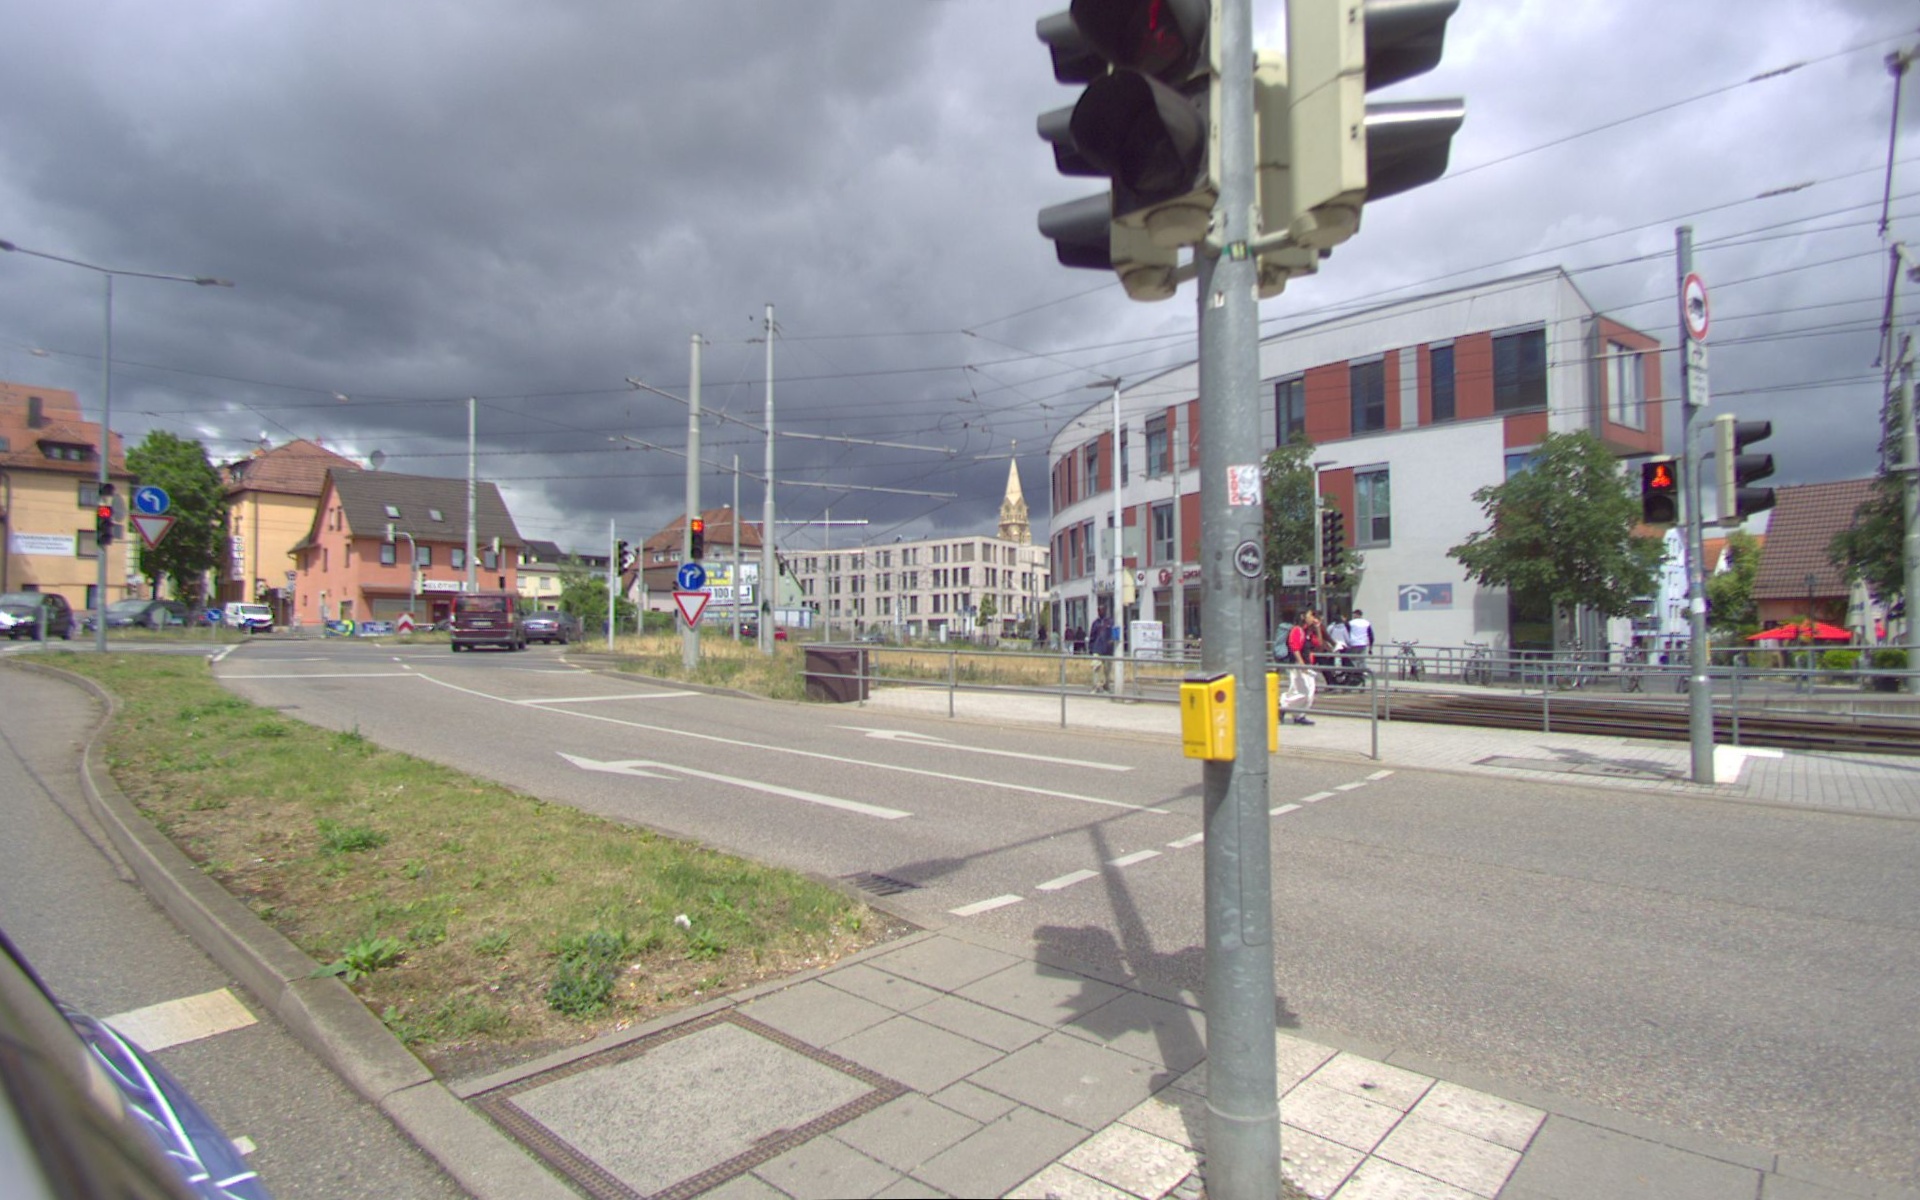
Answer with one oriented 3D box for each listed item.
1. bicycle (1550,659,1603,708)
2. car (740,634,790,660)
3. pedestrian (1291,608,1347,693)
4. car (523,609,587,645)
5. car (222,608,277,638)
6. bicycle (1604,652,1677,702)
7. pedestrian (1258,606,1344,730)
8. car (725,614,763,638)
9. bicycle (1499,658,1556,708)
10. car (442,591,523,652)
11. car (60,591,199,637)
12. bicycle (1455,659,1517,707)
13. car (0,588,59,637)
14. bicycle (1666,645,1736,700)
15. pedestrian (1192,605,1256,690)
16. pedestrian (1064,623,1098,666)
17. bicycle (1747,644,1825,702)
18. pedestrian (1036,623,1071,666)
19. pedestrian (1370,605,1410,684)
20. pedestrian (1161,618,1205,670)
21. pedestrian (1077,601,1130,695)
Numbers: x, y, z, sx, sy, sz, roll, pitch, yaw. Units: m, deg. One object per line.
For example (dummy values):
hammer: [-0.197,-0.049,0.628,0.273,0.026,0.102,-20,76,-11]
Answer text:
bicycle: [14.212,1.900,23.305,0.694,1.071,1.878,0,-3,42]
car: [-15.975,3.837,82.974,1.992,2.029,3.960,-2,-3,29]
pedestrian: [6.929,0.965,19.520,0.821,1.608,0.644,2,-2,-36]
car: [-17.406,1.139,43.679,1.773,1.421,5.065,2,-1,-13]
car: [-47.863,1.543,68.147,4.661,1.912,2.052,-1,-2,42]
bicycle: [15.067,1.690,22.390,1.873,1.037,0.696,3,-3,-35]
pedestrian: [4.455,0.853,13.211,0.834,1.552,0.791,0,-1,39]
car: [-15.086,1.833,70.892,1.786,1.592,4.296,1,-2,0]
bicycle: [13.422,1.947,23.911,0.694,1.106,1.877,0,-3,45]
car: [-15.549,0.683,33.165,1.965,1.836,5.088,1,-1,-21]
car: [-32.847,0.617,40.216,1.971,1.662,4.420,-1,-3,-1]
bicycle: [12.759,2.002,24.550,1.875,1.106,0.695,4,-4,-41]
car: [-30.730,0.451,32.956,1.853,1.440,4.007,2,-4,-39]
bicycle: [15.605,1.516,21.298,1.873,1.106,0.610,3,-3,-35]
pedestrian: [5.322,0.951,20.373,0.921,1.649,0.852,-1,-3,45]
pedestrian: [5.898,2.159,49.372,1.235,2.029,1.143,3,-3,-25]
bicycle: [16.482,1.462,20.184,1.873,1.106,0.696,3,-5,-35]
pedestrian: [4.509,2.155,48.962,1.235,2.029,1.143,3,-3,-25]
pedestrian: [10.189,1.047,24.005,0.766,1.836,0.904,0,-3,17]
pedestrian: [8.877,1.750,40.279,1.236,2.029,1.143,3,-3,-30]
pedestrian: [2.574,0.846,18.083,0.667,1.616,0.827,1,-2,28]
